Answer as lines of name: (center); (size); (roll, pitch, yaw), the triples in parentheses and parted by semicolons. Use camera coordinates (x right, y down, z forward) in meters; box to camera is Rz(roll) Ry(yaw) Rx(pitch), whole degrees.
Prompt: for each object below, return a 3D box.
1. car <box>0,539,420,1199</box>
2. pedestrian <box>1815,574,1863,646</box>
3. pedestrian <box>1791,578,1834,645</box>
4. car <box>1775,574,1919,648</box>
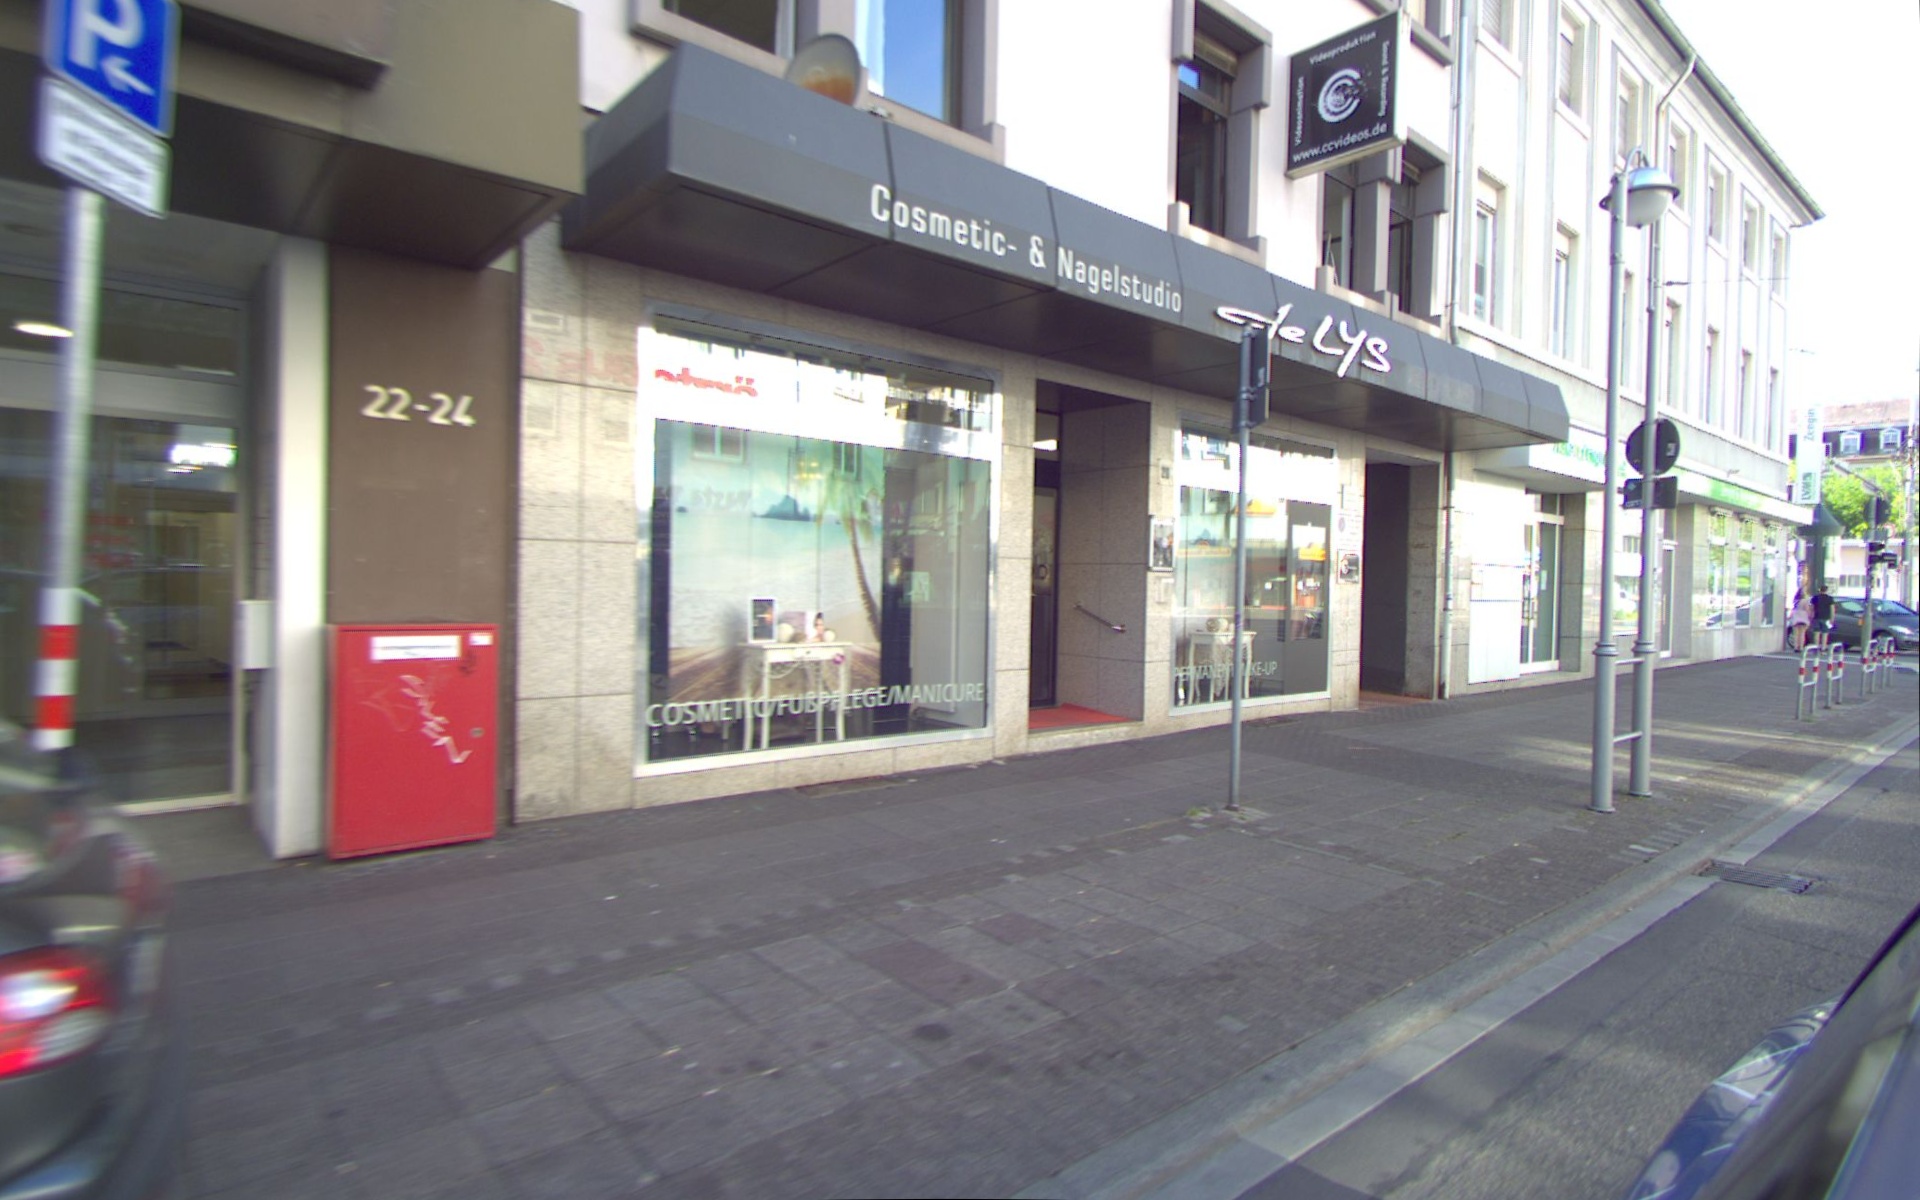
car: (-3.077, 0.627, 0.996); (4.224, 1.480, 1.853); (0, 3, -39)
pedestrian: (23.318, 0.263, 26.864); (0.628, 1.865, 0.683); (1, 1, -16)
pedestrian: (22.988, 0.295, 27.287); (0.562, 1.781, 0.651); (0, 1, -16)
car: (25.940, 0.247, 28.707); (1.872, 1.893, 4.106); (-1, 2, -11)
